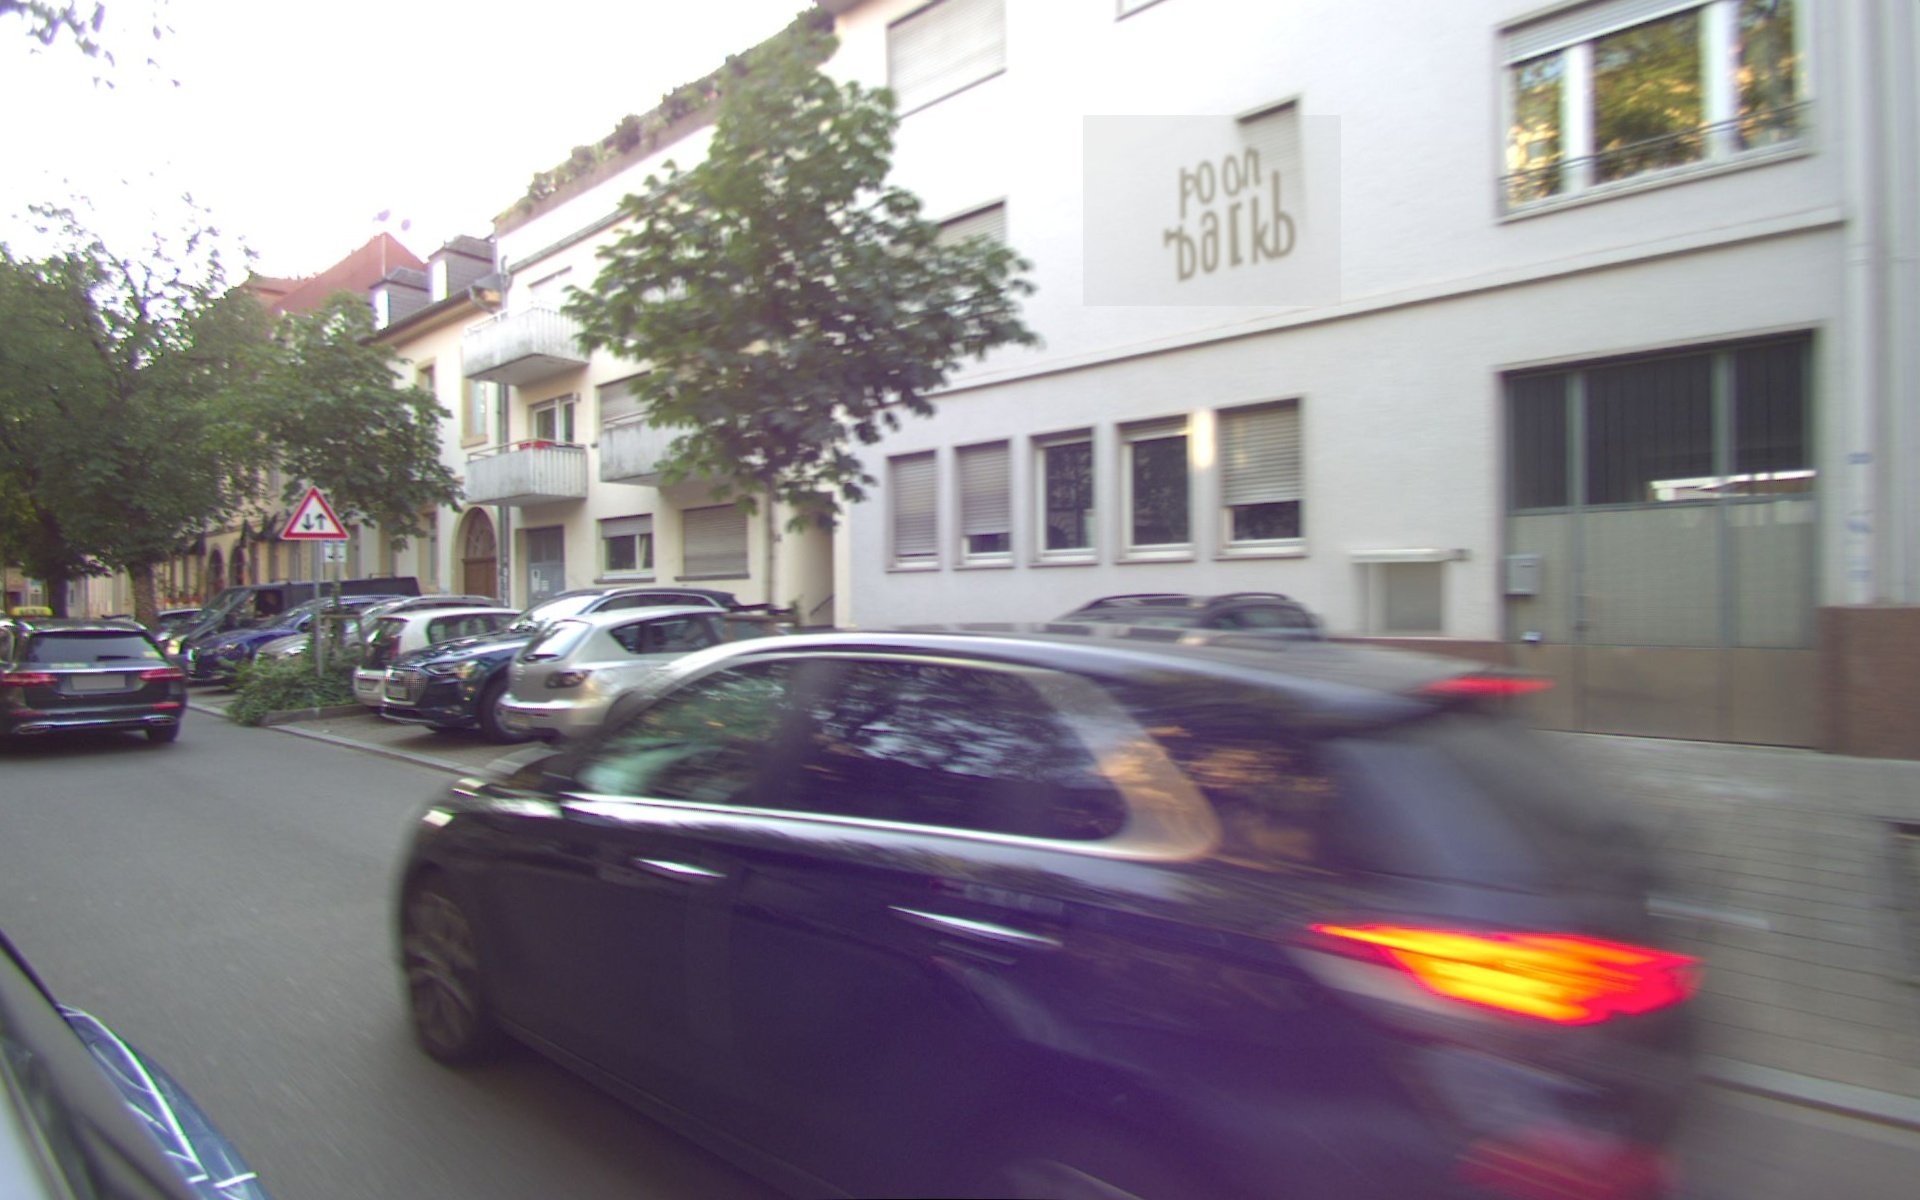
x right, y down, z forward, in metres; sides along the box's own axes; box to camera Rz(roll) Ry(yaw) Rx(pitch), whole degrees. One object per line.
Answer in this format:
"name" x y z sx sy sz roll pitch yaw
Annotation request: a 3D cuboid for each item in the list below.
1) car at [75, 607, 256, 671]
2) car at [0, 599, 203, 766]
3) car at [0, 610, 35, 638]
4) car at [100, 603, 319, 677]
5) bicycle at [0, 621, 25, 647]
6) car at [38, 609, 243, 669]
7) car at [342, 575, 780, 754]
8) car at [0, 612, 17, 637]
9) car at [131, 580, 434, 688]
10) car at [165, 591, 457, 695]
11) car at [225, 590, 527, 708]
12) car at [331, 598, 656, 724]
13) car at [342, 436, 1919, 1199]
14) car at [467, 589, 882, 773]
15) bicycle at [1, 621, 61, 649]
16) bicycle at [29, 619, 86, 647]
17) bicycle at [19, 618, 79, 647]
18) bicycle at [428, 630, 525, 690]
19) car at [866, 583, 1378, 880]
"car" -21.825 1.016 27.896 1.658 1.460 3.646 -1 2 41
"car" -10.801 0.848 12.054 4.642 1.653 1.858 -1 -1 40
"car" -52.753 1.357 54.945 1.671 1.416 3.455 -1 2 38
"car" -19.623 0.977 26.615 1.771 1.550 4.310 0 3 41
"bicycle" -42.205 1.498 44.273 0.479 1.106 1.848 -1 1 34
"car" -23.871 1.068 29.639 1.715 1.417 4.383 0 2 37
"car" -4.762 0.616 12.655 2.155 1.778 4.618 -1 1 40
"car" -59.012 1.571 60.600 1.588 1.430 3.509 -1 2 38
"car" -14.205 0.638 21.483 2.188 2.006 4.939 -1 -1 40
"car" -12.362 0.727 19.504 1.929 1.584 4.310 -1 3 41
"car" -9.973 0.740 17.521 1.823 1.603 4.112 -1 3 41
"car" -6.583 0.781 14.575 1.854 1.462 3.805 -2 0 41
"car" -0.076 0.659 3.044 4.273 1.561 1.857 -1 -1 41
"car" -2.954 0.715 11.063 1.781 1.505 3.984 -1 2 44
"bicycle" -41.066 1.533 44.756 0.479 1.107 1.848 -1 1 35
"bicycle" -38.265 1.396 42.921 0.479 1.107 1.692 -1 1 35
"bicycle" -39.414 1.396 43.786 0.479 1.107 1.848 -1 1 35
"bicycle" -7.919 0.953 16.555 1.813 0.880 0.739 -1 1 40
"car" 1.413 0.672 7.374 1.754 1.451 4.032 -1 1 42
